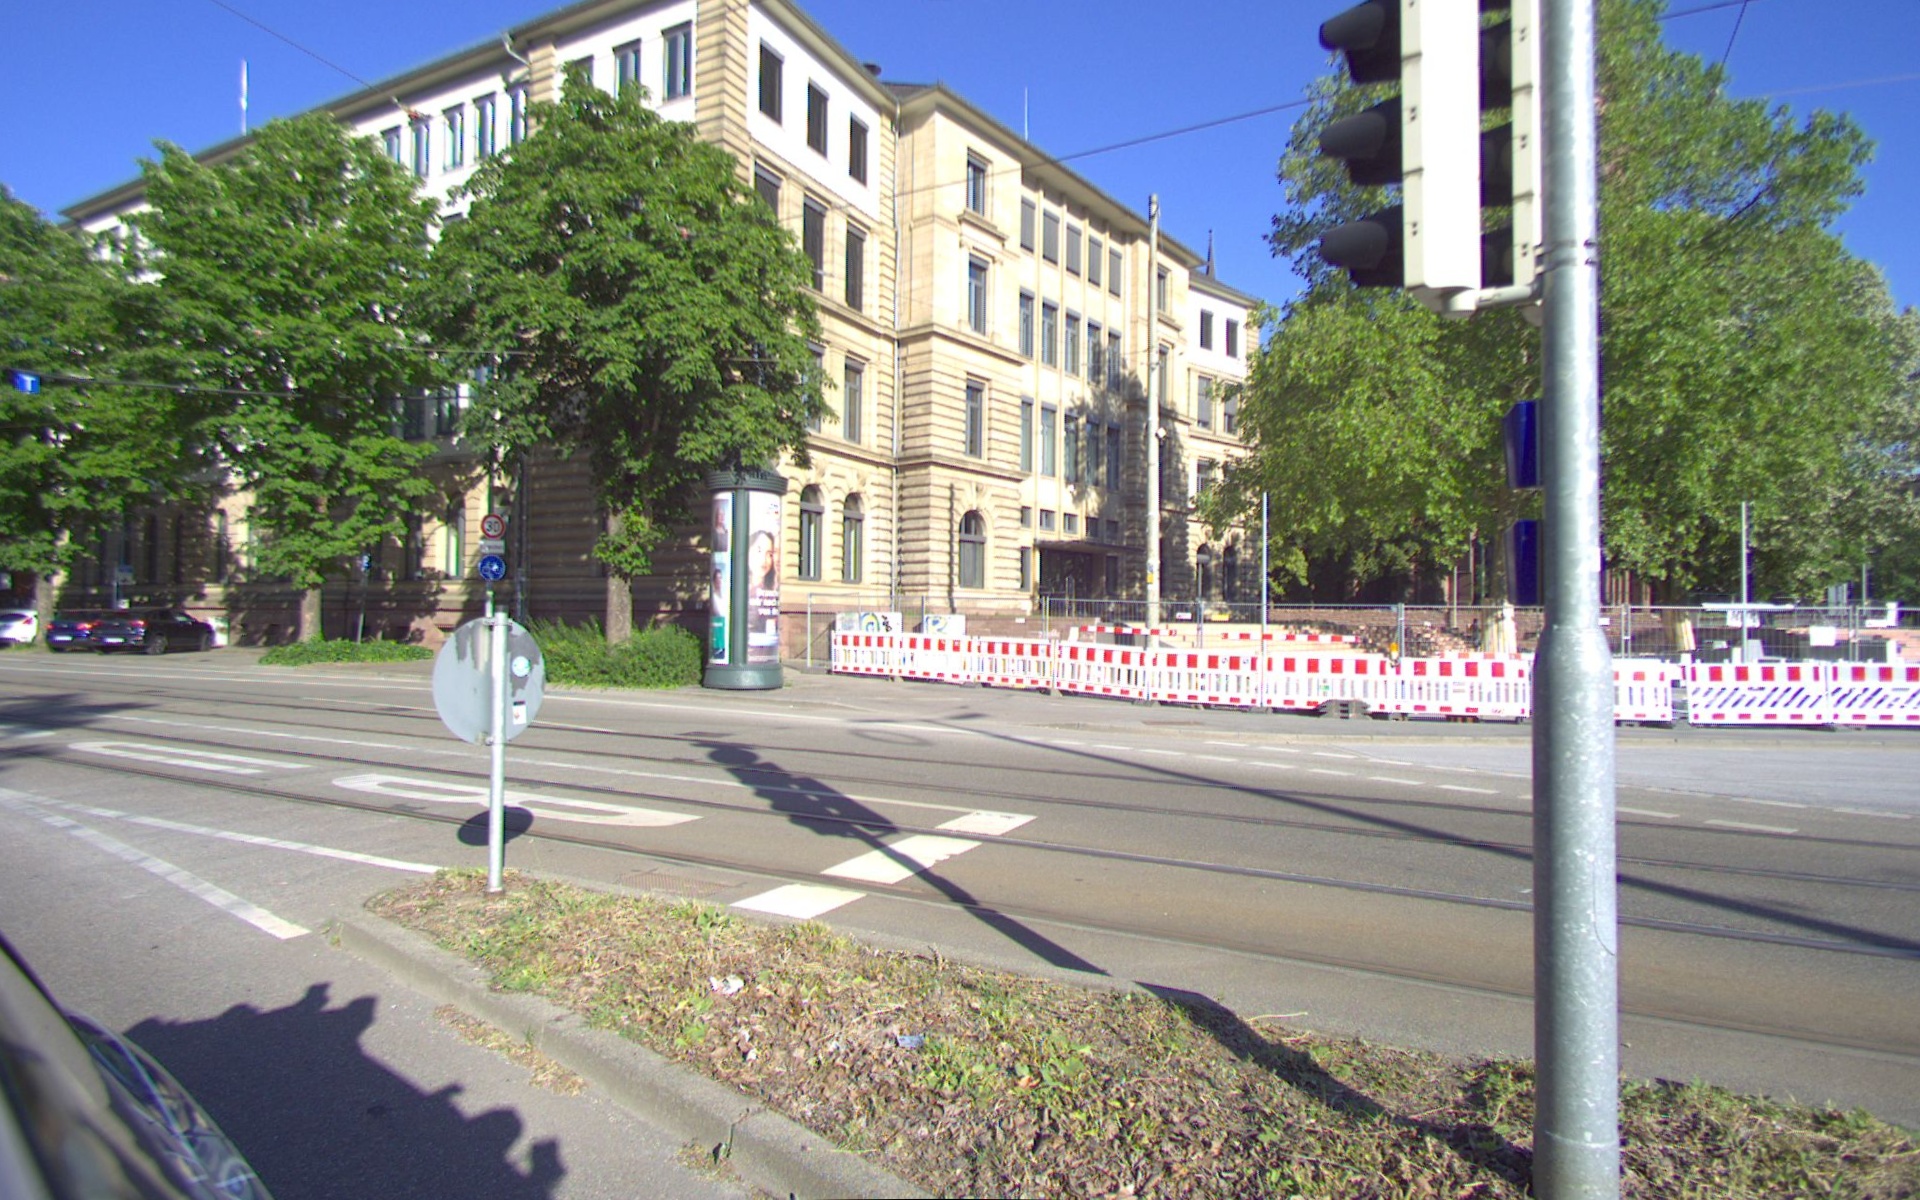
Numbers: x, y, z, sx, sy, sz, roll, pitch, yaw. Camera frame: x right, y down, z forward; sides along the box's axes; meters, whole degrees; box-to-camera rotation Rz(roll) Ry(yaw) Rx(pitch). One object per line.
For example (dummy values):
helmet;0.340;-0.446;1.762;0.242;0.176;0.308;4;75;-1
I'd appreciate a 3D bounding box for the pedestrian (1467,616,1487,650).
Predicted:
pedestrian;26.144;1.661;51.197;0.627;1.660;0.677;1;-1;-39

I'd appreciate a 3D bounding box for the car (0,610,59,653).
car;-37.028;1.208;38.960;1.625;1.572;3.654;-1;0;-5

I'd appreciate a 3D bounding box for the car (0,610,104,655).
car;-34.692;1.198;38.336;1.625;1.572;3.654;-1;0;-5

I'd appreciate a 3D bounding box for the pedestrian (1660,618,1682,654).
pedestrian;33.085;1.684;47.078;0.761;1.660;0.666;-1;-1;43

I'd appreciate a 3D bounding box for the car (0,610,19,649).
car;-40.103;1.217;40.555;1.625;1.572;3.654;-1;0;-5

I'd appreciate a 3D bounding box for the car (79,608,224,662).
car;-27.243;1.118;34.292;1.818;1.643;4.186;-1;0;-5

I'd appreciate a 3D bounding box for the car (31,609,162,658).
car;-29.906;1.118;35.195;1.625;1.572;3.654;-1;0;-5
